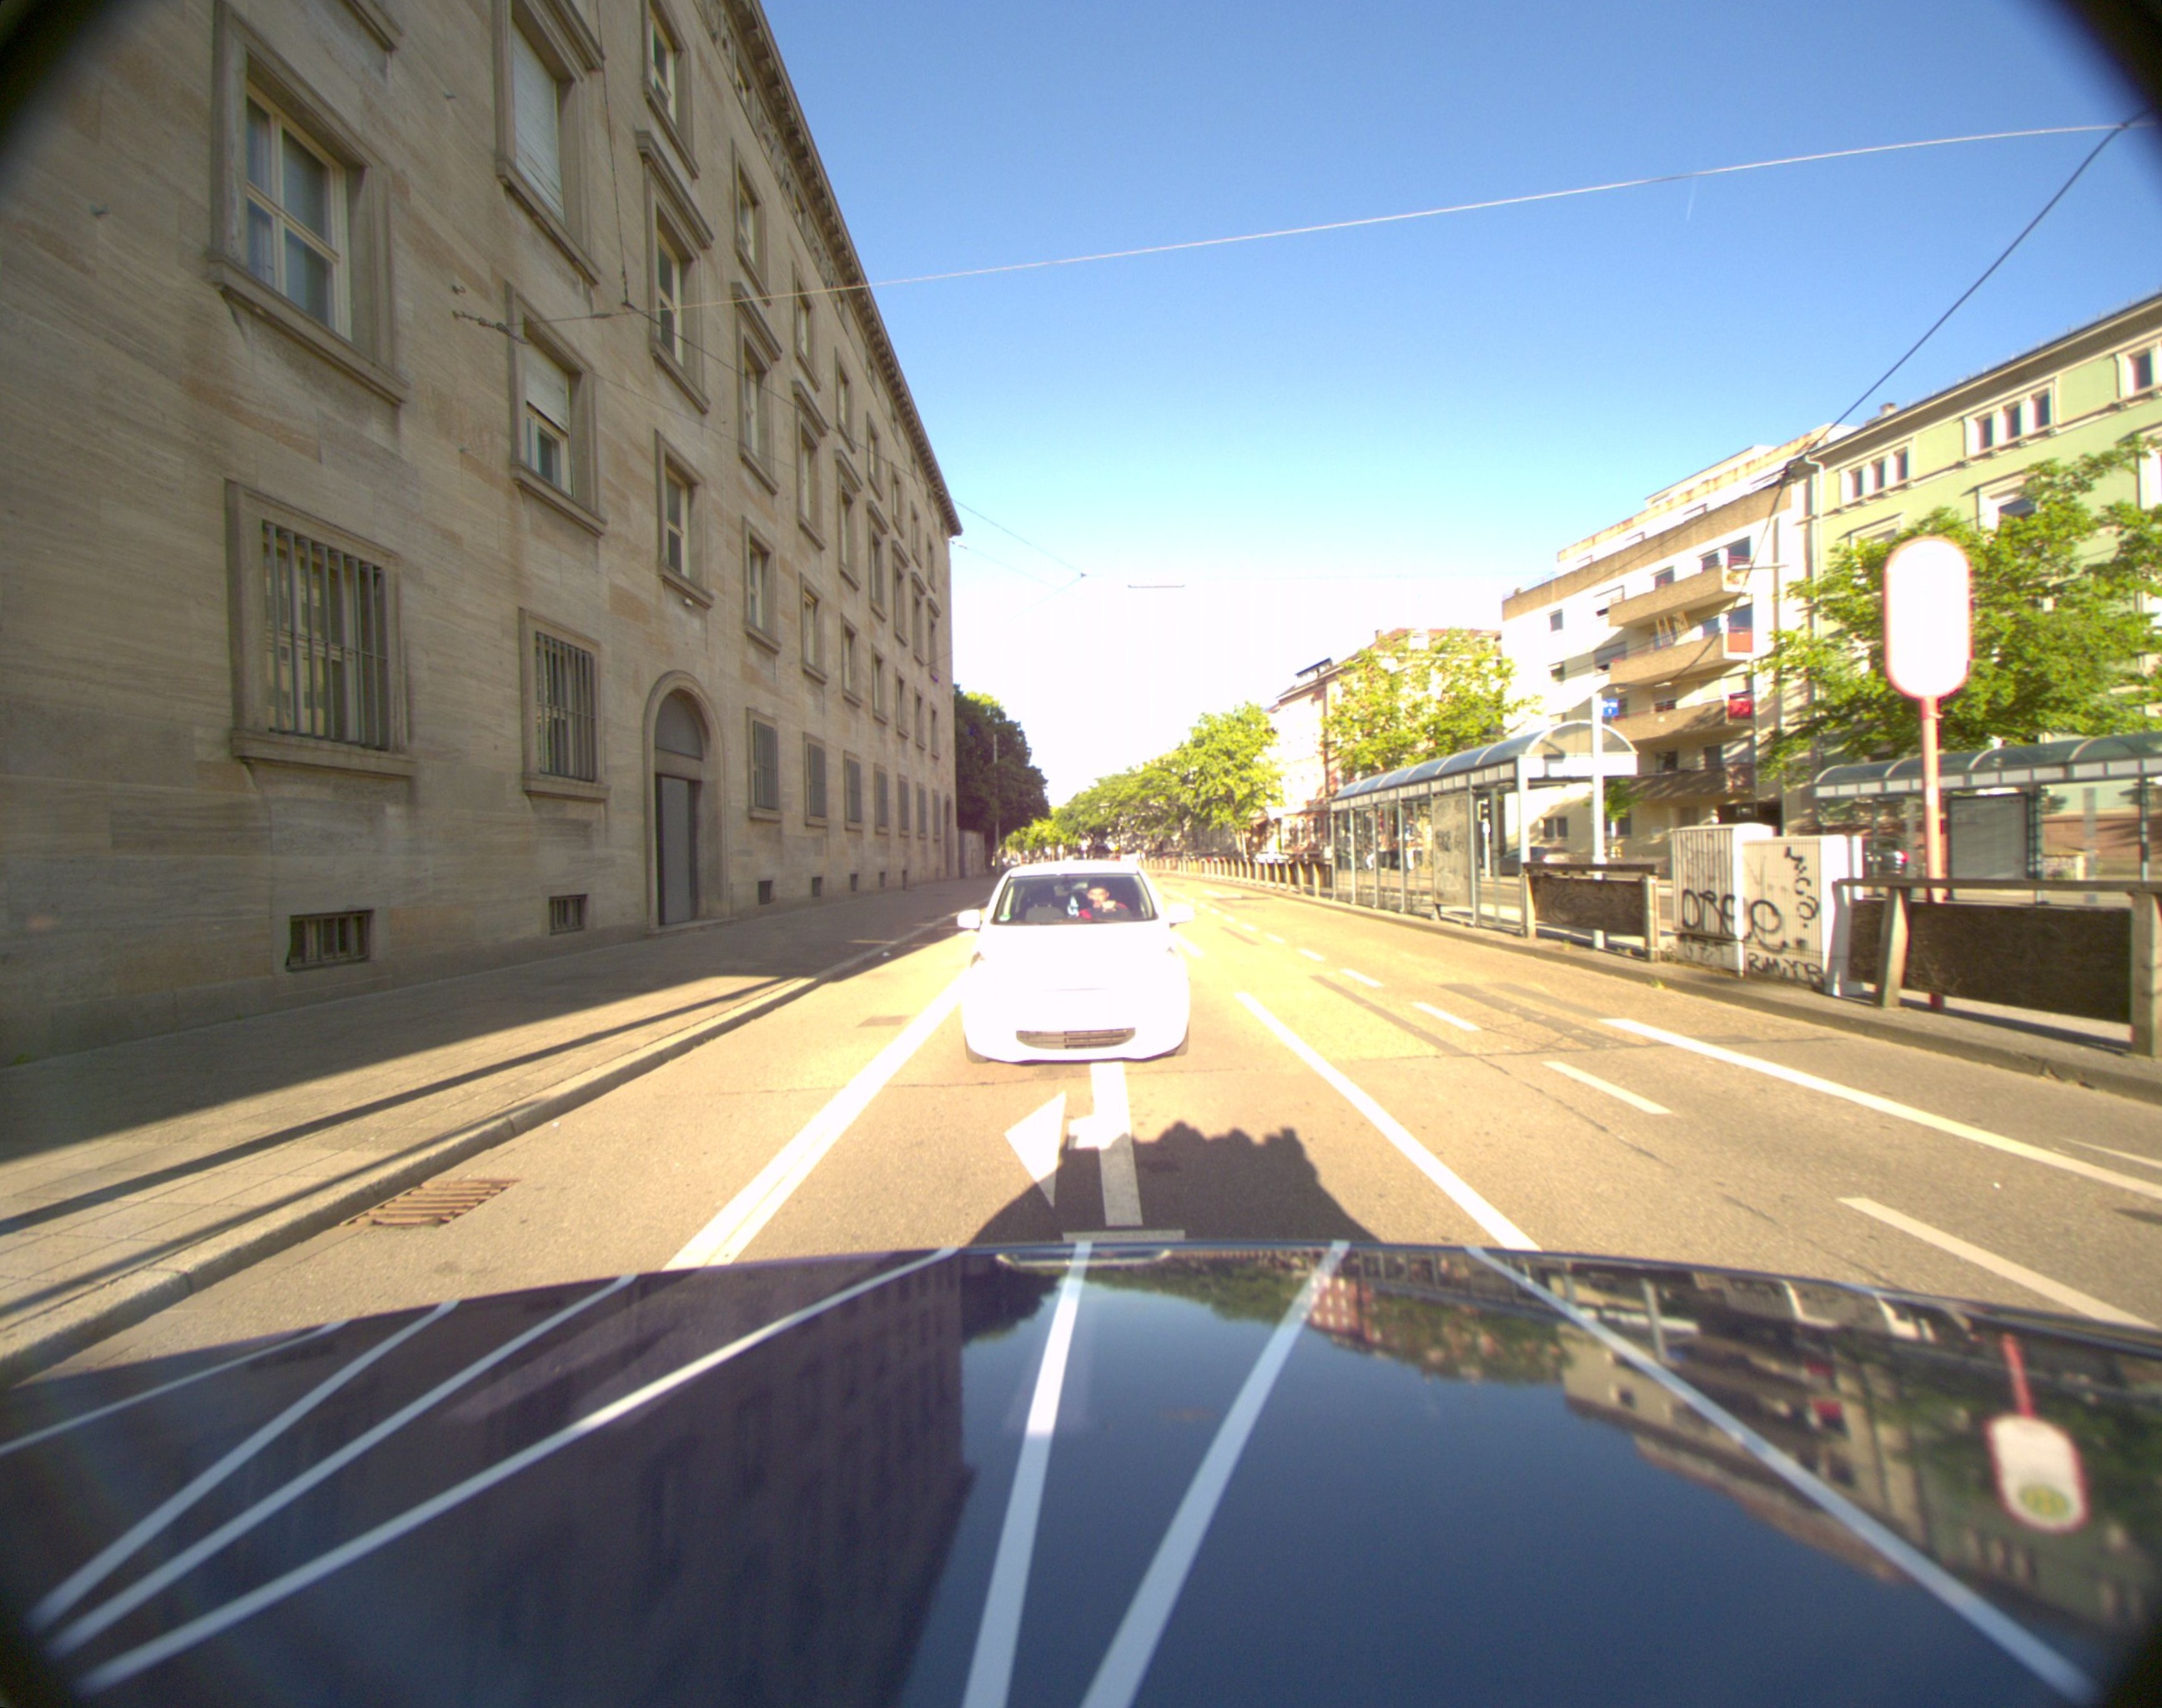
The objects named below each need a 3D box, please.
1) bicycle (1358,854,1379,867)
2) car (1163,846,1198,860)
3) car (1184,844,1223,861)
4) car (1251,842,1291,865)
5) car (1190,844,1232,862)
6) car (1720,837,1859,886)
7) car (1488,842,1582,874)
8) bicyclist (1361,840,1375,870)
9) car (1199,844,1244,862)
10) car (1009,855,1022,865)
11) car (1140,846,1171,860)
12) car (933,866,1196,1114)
[{"bbox_3d":[17.008,0.377,45.006,0.536,0.782,1.853,-1,0,1],"label":"bicycle"},{"bbox_3d":[11.396,-0.096,87.231,3.864,1.583,2.001,-1,1,5],"label":"car"},{"bbox_3d":[13.121,-0.148,81.672,3.996,1.674,2.000,-1,1,4],"label":"car"},{"bbox_3d":[16.277,-0.041,64.822,1.994,1.713,4.007,0,3,34],"label":"car"},{"bbox_3d":[13.316,-0.112,77.869,3.996,1.674,2.000,-1,1,4],"label":"car"},{"bbox_3d":[23.927,0.230,25.701,3.796,1.526,1.772,-1,1,-17],"label":"car"},{"bbox_3d":[20.834,0.164,34.983,1.615,1.387,3.516,-1,0,-19],"label":"car"},{"bbox_3d":[16.994,0.065,44.986,0.536,1.751,0.771,-1,0,1],"label":"bicyclist"},{"bbox_3d":[13.604,-0.089,73.736,3.996,1.674,2.000,-1,1,4],"label":"car"},{"bbox_3d":[-11.883,1.005,138.114,2.000,1.761,3.996,-1,0,-9],"label":"car"},{"bbox_3d":[9.519,-0.127,96.856,3.864,1.583,2.000,-1,1,4],"label":"car"},{"bbox_3d":[-0.078,0.883,6.580,1.612,1.450,3.667,-1,0,1],"label":"car"}]
